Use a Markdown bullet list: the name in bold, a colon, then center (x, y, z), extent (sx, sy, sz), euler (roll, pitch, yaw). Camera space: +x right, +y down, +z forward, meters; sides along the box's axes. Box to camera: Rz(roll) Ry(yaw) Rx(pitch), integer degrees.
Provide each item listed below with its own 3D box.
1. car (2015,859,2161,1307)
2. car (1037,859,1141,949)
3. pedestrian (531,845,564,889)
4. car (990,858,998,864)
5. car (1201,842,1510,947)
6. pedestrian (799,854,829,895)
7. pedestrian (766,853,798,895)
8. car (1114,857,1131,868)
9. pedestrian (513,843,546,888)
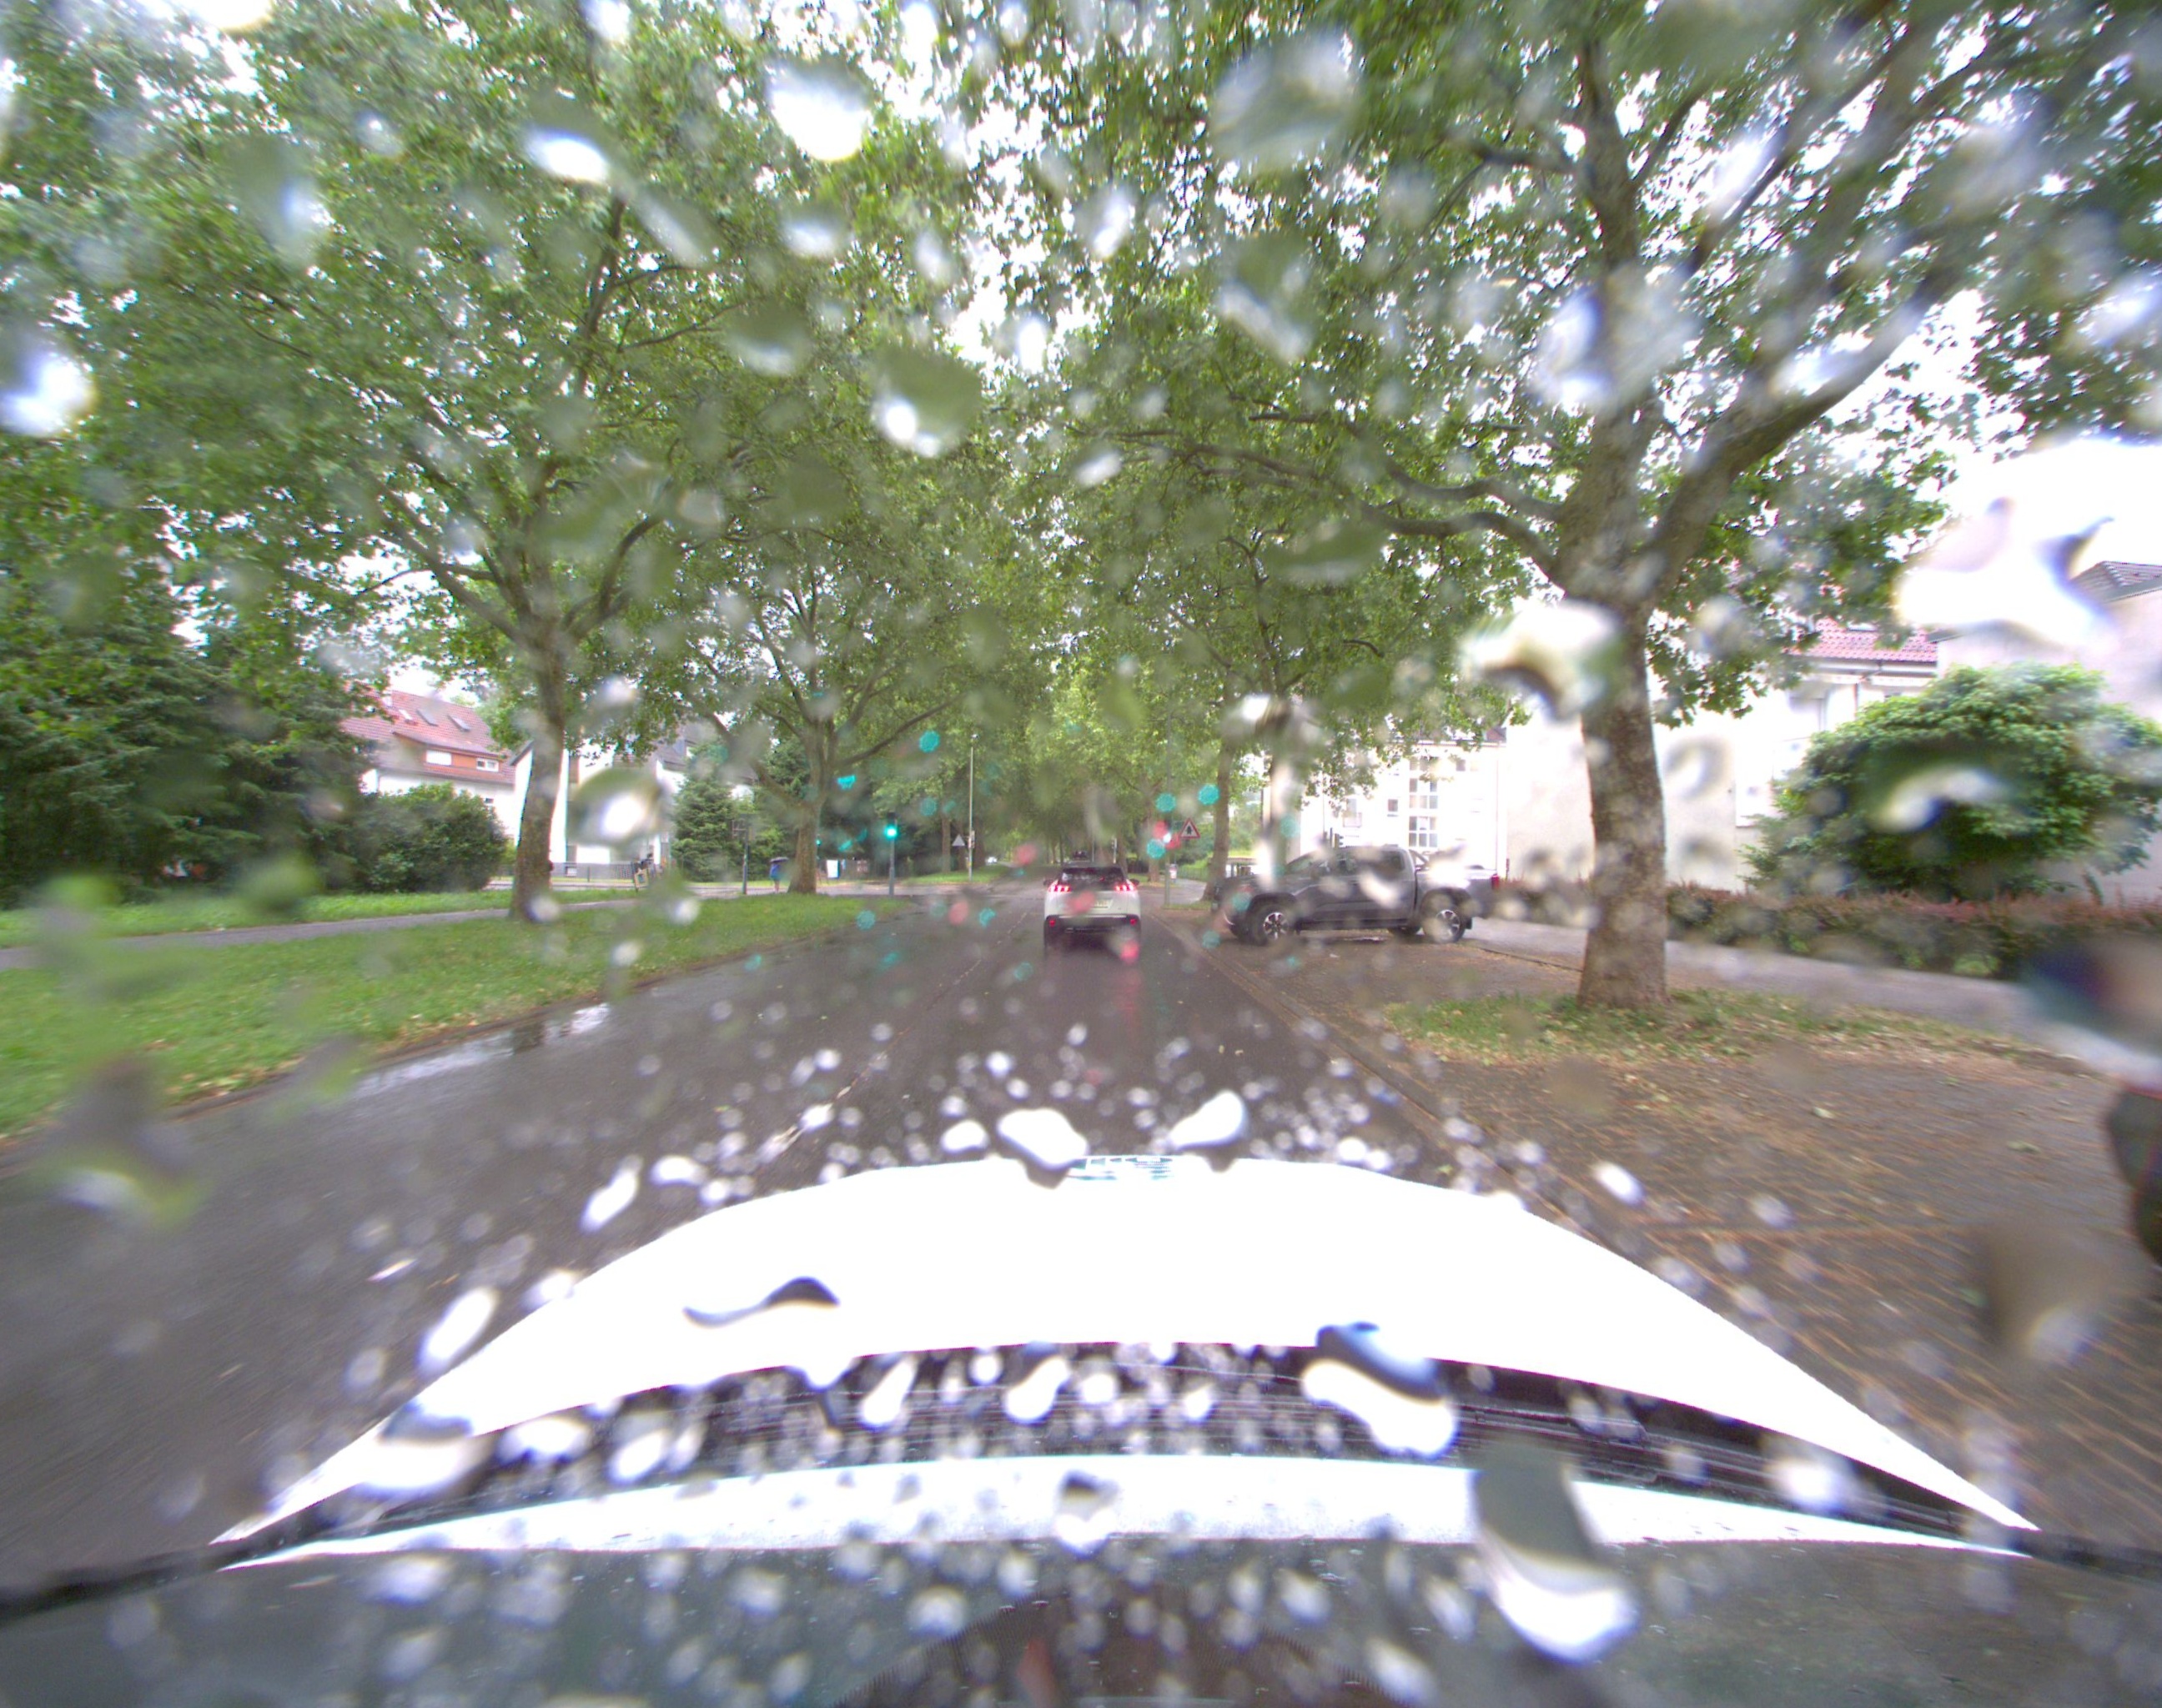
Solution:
- **car**: center (5.211, 0.753, 2.290), extent (3.344, 1.464, 1.618), euler (0, 0, 0)
- **car**: center (0.191, 0.892, 16.043), extent (1.774, 1.536, 4.058), euler (0, -1, 1)
- **pedestrian**: center (-21.513, 0.508, 32.830), extent (0.856, 1.744, 0.639), euler (1, -1, -2)
- **car**: center (-24.097, 1.909, 224.654), extent (1.869, 1.677, 3.705), euler (0, 0, -2)
- **car**: center (5.145, 0.716, 15.630), extent (5.330, 1.807, 1.842), euler (-1, -1, -6)
- **pedestrian**: center (-11.678, 0.868, 35.614), extent (1.029, 1.765, 0.838), euler (0, 0, 1)
- **pedestrian**: center (-12.915, 0.859, 35.230), extent (1.029, 1.765, 0.879), euler (0, 0, 1)
- **car**: center (5.661, 1.135, 111.561), extent (1.901, 1.510, 3.928), euler (0, 0, -2)
- **pedestrian**: center (-21.660, 0.469, 32.016), extent (0.818, 1.744, 0.639), euler (1, -1, -2)
